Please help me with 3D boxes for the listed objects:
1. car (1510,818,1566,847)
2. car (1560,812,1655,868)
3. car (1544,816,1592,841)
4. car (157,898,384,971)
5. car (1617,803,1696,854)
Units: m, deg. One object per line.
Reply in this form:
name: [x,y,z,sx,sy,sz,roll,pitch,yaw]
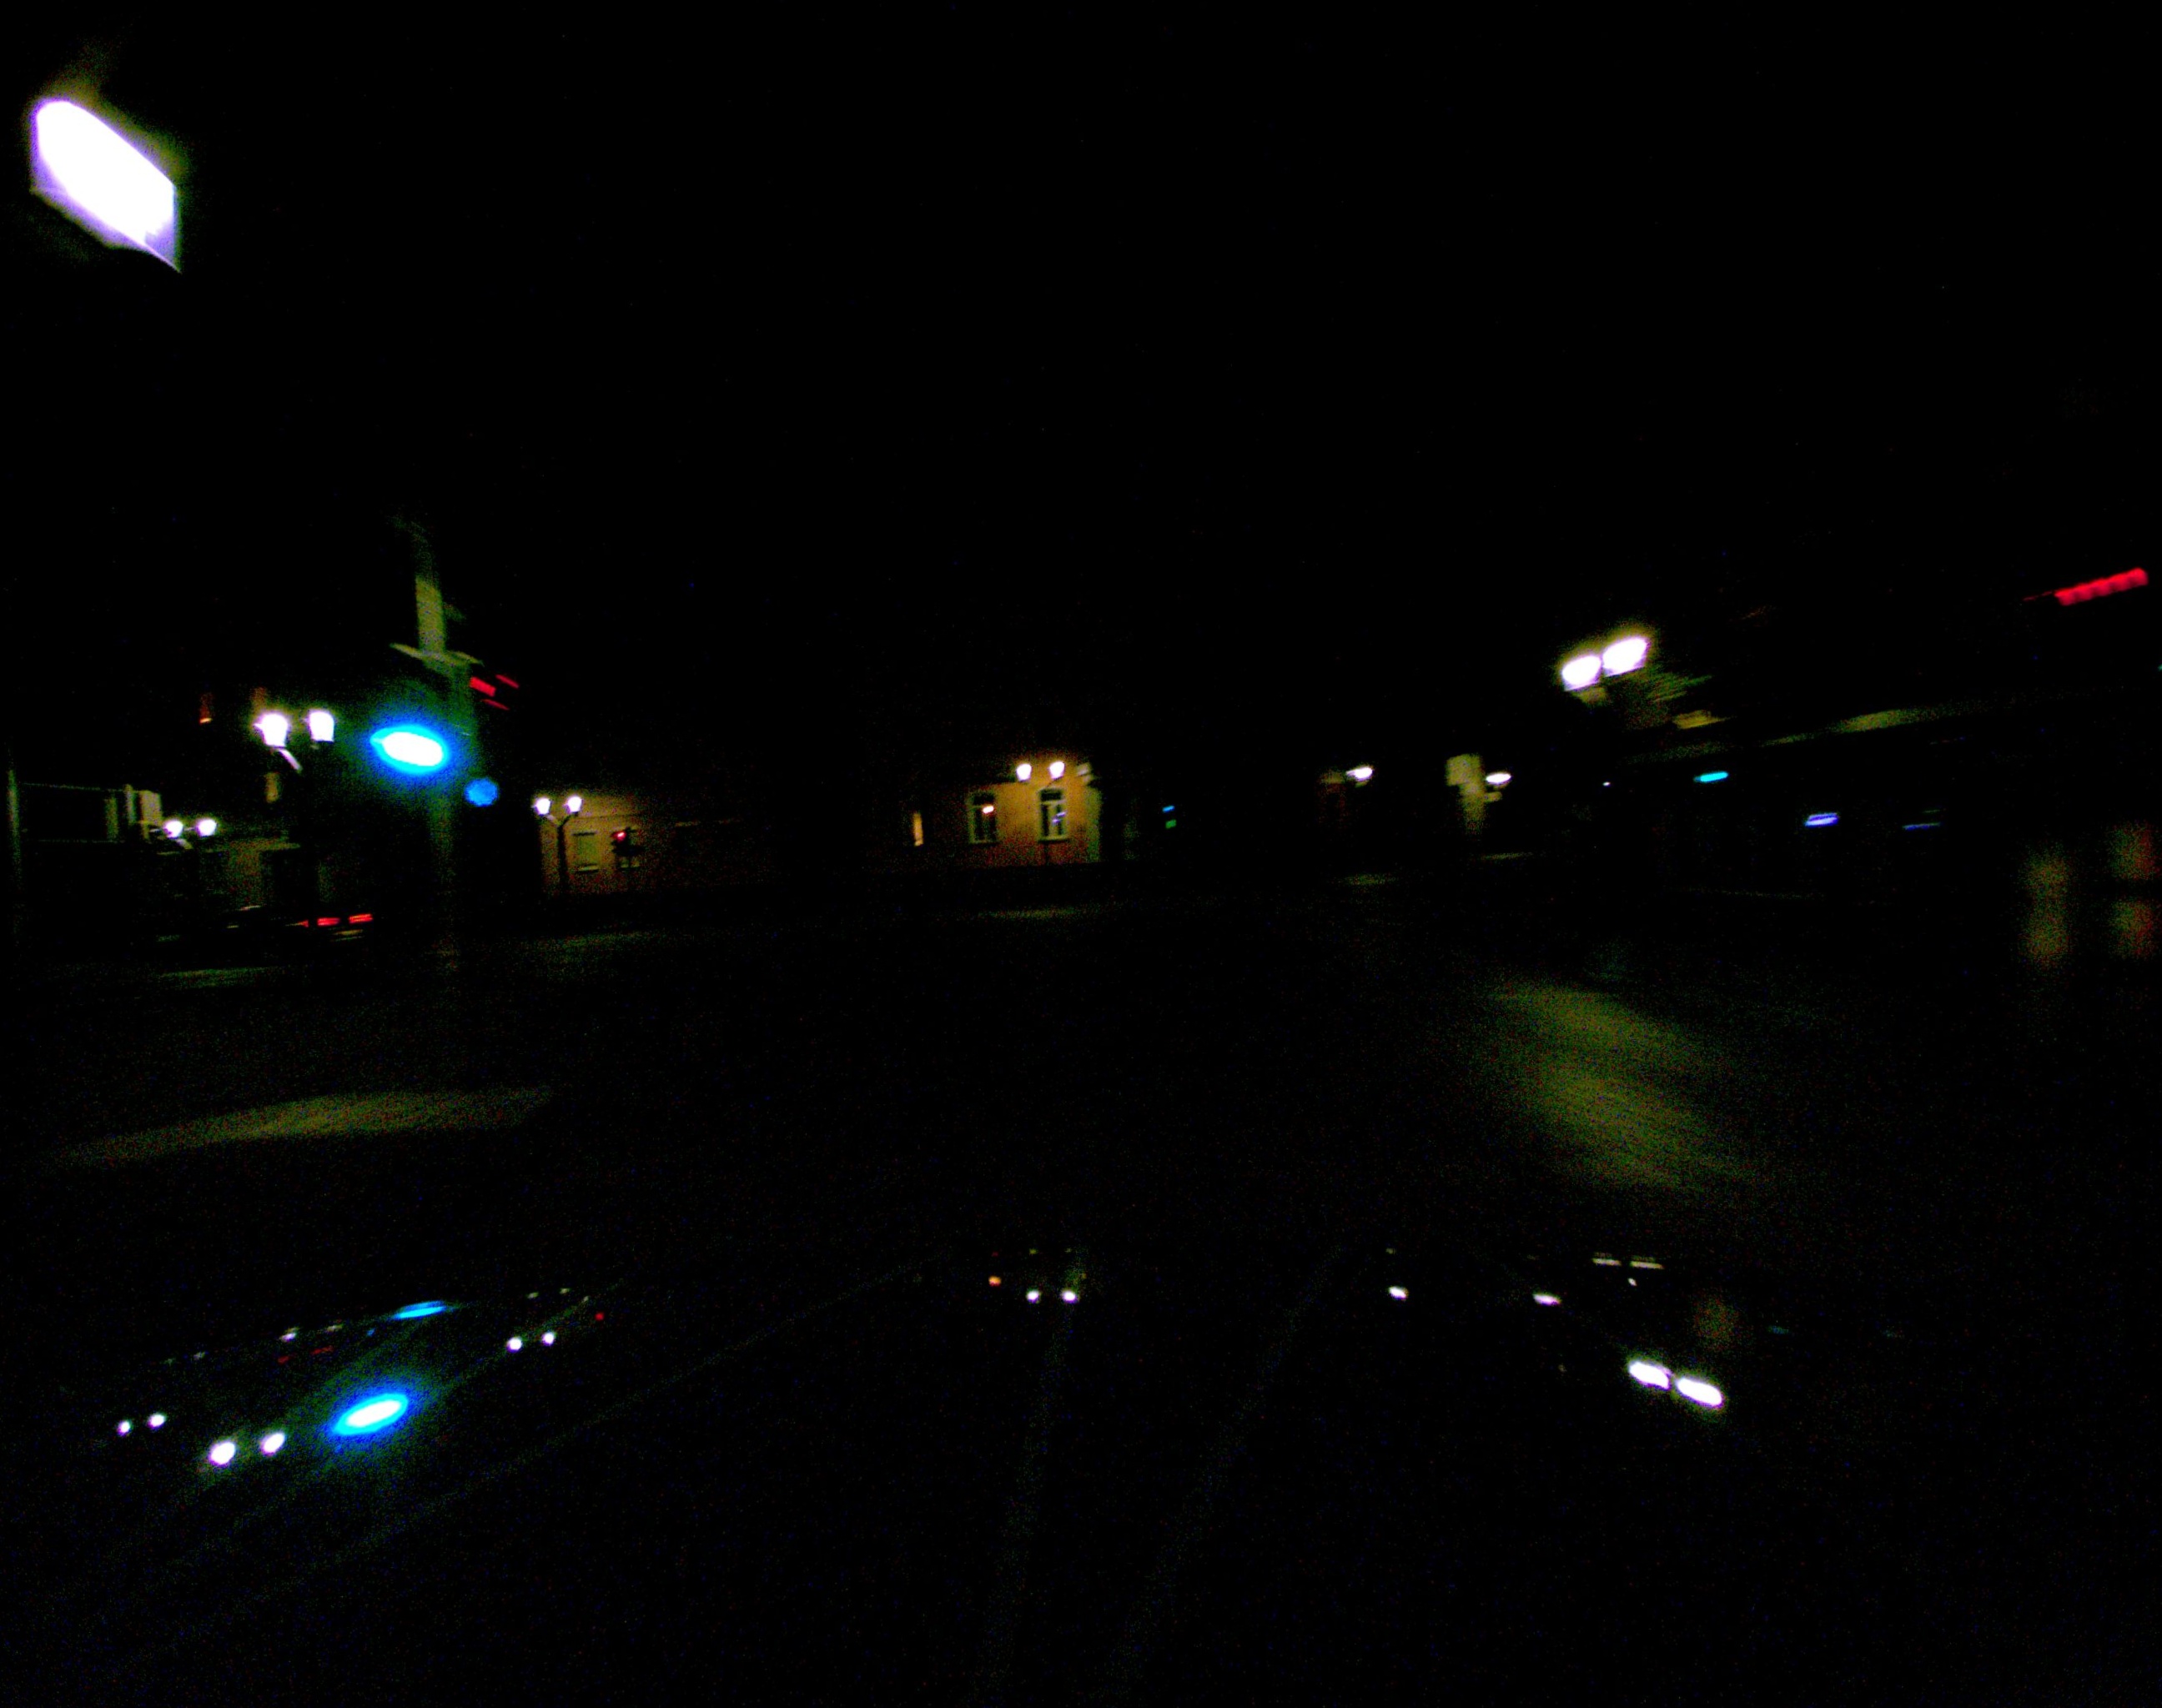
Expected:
car: [27.414,-1.295,45.504,4.007,1.510,1.730,-4,1,-42]
car: [18.696,-0.528,26.893,4.184,1.740,1.924,-4,1,-44]
car: [33.282,-1.758,51.848,4.007,1.510,1.707,-4,1,-42]
car: [-23.222,2.268,21.944,4.242,1.576,1.740,-4,1,-8]
car: [23.899,-1.083,31.509,4.184,1.897,1.924,-4,1,-44]
